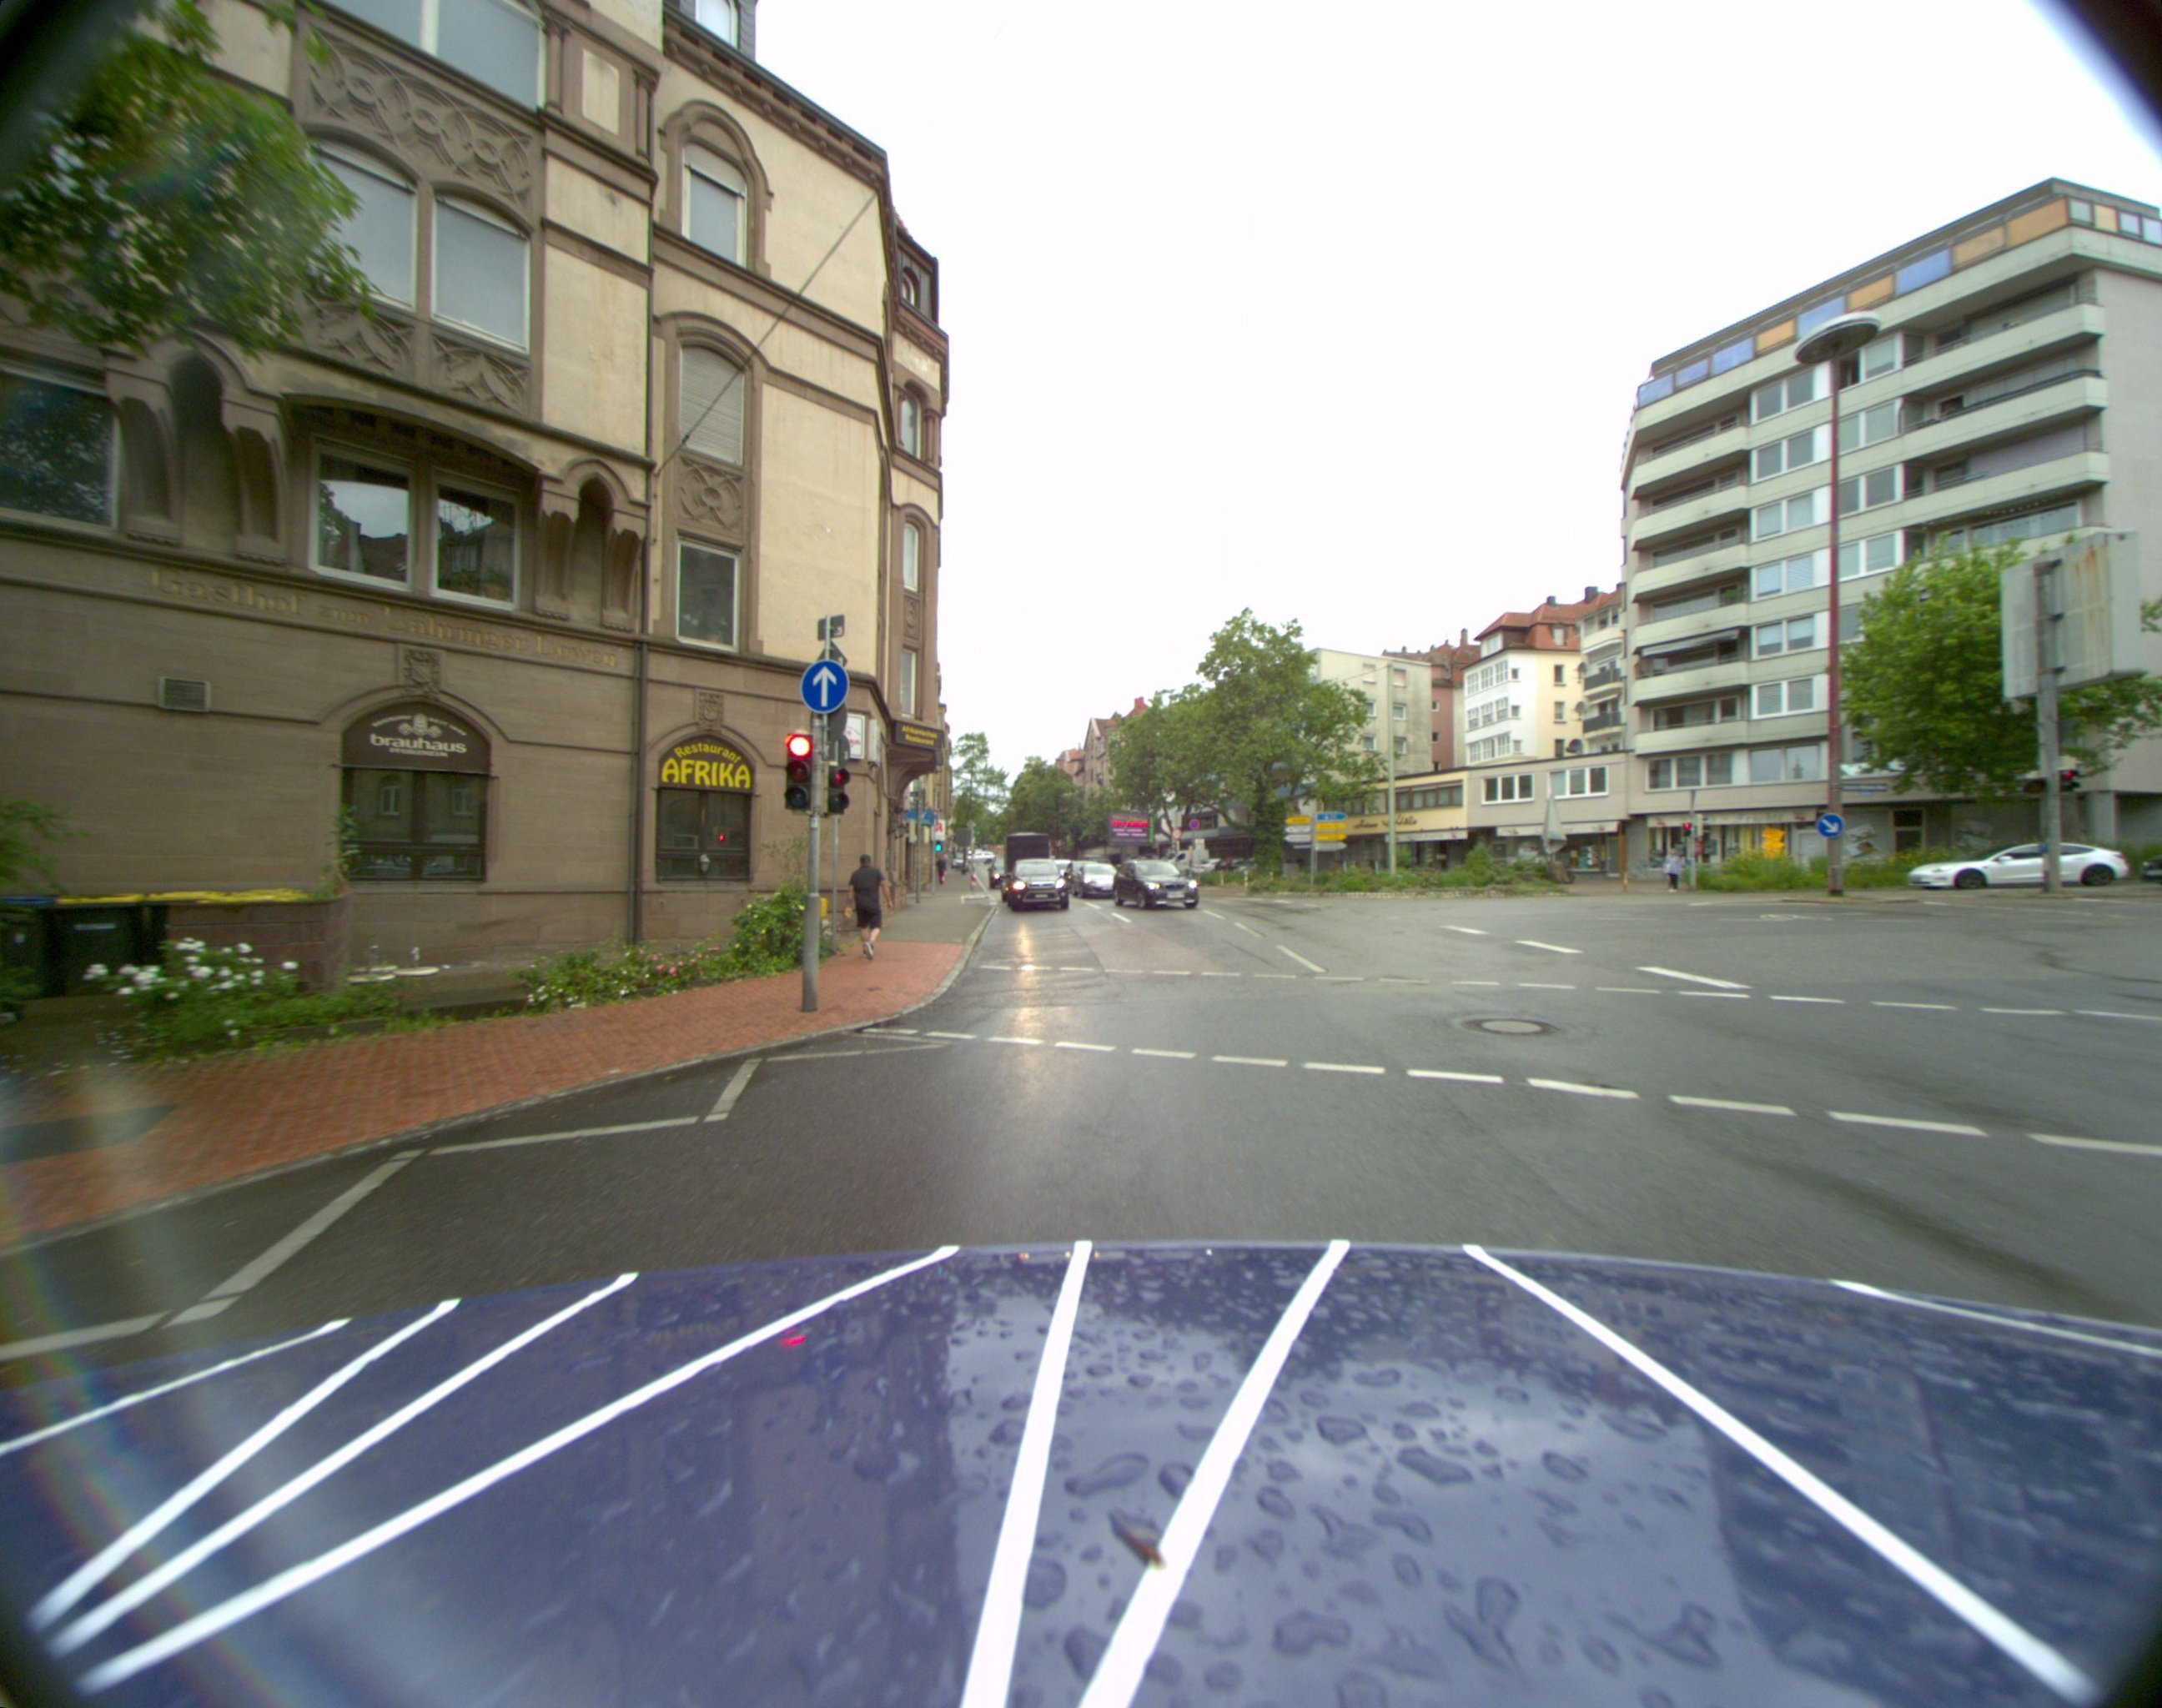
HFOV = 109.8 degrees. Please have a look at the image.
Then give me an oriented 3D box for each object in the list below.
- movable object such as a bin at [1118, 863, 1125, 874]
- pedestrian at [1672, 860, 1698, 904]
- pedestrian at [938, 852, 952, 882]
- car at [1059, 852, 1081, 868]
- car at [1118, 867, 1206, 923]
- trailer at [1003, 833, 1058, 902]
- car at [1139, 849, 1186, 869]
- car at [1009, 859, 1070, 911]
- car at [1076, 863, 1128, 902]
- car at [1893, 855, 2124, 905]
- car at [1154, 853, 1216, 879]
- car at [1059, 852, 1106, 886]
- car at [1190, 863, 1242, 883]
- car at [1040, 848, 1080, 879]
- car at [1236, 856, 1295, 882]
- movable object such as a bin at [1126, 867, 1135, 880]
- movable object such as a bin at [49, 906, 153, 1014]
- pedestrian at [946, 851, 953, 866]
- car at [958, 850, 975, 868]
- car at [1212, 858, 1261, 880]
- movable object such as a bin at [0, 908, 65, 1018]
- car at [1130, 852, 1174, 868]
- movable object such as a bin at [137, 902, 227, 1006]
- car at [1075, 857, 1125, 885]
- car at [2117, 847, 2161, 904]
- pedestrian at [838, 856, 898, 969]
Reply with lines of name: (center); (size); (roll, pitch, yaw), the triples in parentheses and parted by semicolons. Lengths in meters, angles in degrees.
movable object such as a bin: (3.346, 1.231, 62.846); (0.485, 0.896, 0.545); (0, 2, -12)
pedestrian: (23.611, 1.101, 29.699); (0.626, 1.683, 0.618); (-1, 0, -35)
pedestrian: (-8.787, 0.851, 49.251); (0.699, 1.938, 1.090); (-1, 0, 0)
car: (-1.155, 0.597, 77.449); (1.719, 1.488, 3.679); (0, 0, -10)
car: (2.475, 1.227, 24.347); (1.758, 1.526, 4.211); (-1, 0, -9)
trailer: (-2.187, 0.497, 31.540); (1.940, 2.621, 4.680); (0, 0, -8)
car: (7.355, 0.425, 68.440); (3.842, 1.680, 1.802); (0, 2, -28)
car: (-1.431, 0.975, 25.277); (1.863, 1.504, 3.680); (1, 1, -5)
car: (0.824, 1.149, 31.826); (1.757, 1.474, 4.179); (0, 0, -4)
car: (29.827, 0.822, 24.644); (4.383, 1.483, 1.917); (-1, 0, 21)
car: (8.721, 0.999, 63.461); (4.984, 1.966, 1.875); (-1, 2, -29)
car: (0.013, 0.748, 38.958); (1.758, 1.634, 4.209); (-1, -1, -9)
car: (10.440, 1.442, 58.626); (3.711, 1.408, 1.807); (-1, 2, -35)
car: (-1.295, 0.521, 44.886); (1.758, 1.635, 4.374); (-1, 1, -10)
car: (13.213, 1.025, 54.233); (4.224, 1.633, 1.936); (-2, 2, -38)
movable object such as a bin: (4.082, 1.617, 62.822); (0.644, 1.073, 0.627); (0, 2, -12)
movable object such as a bin: (-10.492, 1.108, 8.159); (0.576, 1.051, 0.535); (-2, 1, -42)
pedestrian: (-13.722, 0.509, 79.221); (0.645, 1.489, 0.690); (4, 4, -10)
car: (-11.736, 0.462, 77.759); (1.527, 1.609, 3.489); (4, 2, -9)
car: (11.629, 1.093, 56.720); (3.629, 1.408, 1.626); (-2, 2, -38)
movable object such as a bin: (-10.935, 1.106, 7.737); (0.595, 1.051, 0.530); (-2, 1, -42)
car: (6.625, 0.514, 71.081); (3.842, 1.397, 1.687); (-1, 1, -30)
movable object such as a bin: (-10.041, 1.093, 8.506); (0.560, 1.059, 0.541); (-2, 1, -42)
car: (1.342, 1.187, 54.417); (1.751, 1.835, 4.136); (1, 1, -28)
car: (30.168, 0.533, 19.427); (4.014, 1.482, 1.770); (-1, -1, 21)
pedestrian: (-3.337, 0.883, 11.963); (0.831, 1.669, 0.893); (-1, 1, -14)
